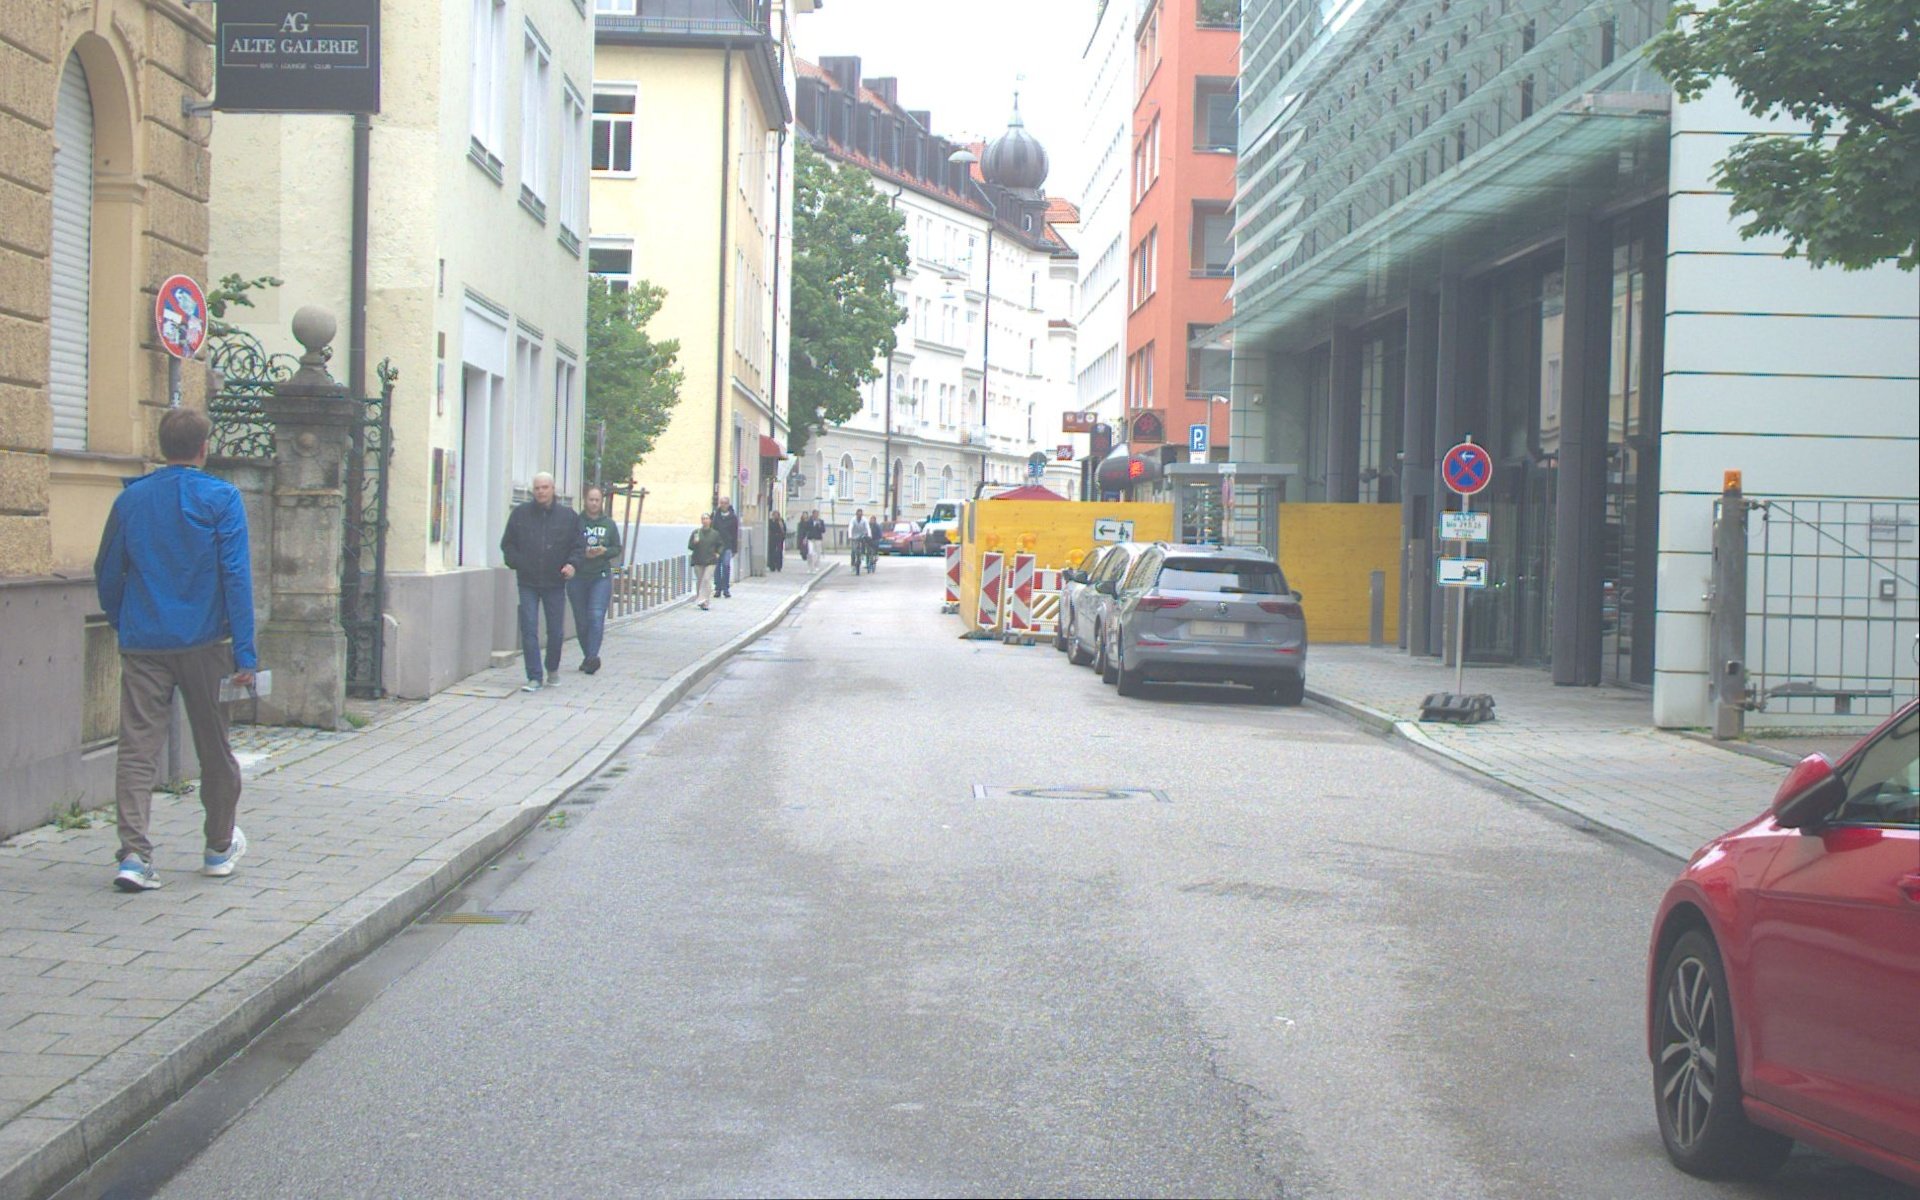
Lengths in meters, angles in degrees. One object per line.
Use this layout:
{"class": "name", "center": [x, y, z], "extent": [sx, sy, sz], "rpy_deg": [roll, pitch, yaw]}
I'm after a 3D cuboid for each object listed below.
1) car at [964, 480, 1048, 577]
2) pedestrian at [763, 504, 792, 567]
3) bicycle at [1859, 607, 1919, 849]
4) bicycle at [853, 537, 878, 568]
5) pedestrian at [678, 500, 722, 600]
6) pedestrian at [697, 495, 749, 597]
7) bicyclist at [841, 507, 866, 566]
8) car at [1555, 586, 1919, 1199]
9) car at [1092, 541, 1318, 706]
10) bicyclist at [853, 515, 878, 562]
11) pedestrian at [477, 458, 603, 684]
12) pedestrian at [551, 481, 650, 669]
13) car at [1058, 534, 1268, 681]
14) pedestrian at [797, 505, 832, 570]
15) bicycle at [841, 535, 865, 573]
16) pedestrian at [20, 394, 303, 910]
{"class": "car", "center": [1.254, -2.008, 95.926], "extent": [1.993, 2.528, 4.976], "rpy_deg": [2, 1, -2]}
{"class": "pedestrian", "center": [-4.888, -1.733, 92.136], "extent": [0.670, 1.642, 0.761], "rpy_deg": [2, 1, -2]}
{"class": "bicycle", "center": [5.436, 0.709, 18.416], "extent": [0.707, 1.194, 1.834], "rpy_deg": [1, 4, 0]}
{"class": "bicycle", "center": [-2.782, -1.399, 100.833], "extent": [0.707, 0.902, 1.810], "rpy_deg": [1, 1, -2]}
{"class": "pedestrian", "center": [-4.433, -0.864, 58.716], "extent": [0.647, 1.670, 0.724], "rpy_deg": [2, 1, -2]}
{"class": "pedestrian", "center": [-4.471, -1.029, 65.029], "extent": [0.867, 1.875, 1.135], "rpy_deg": [2, 1, -2]}
{"class": "bicyclist", "center": [-2.990, -1.793, 96.859], "extent": [0.659, 1.637, 0.895], "rpy_deg": [1, 1, -2]}
{"class": "car", "center": [2.789, 0.781, 7.353], "extent": [1.760, 1.442, 4.300], "rpy_deg": [3, 1, -7]}
{"class": "car", "center": [2.311, 0.175, 33.378], "extent": [1.708, 1.427, 4.330], "rpy_deg": [2, 1, -2]}
{"class": "bicyclist", "center": [-2.761, -1.812, 100.694], "extent": [0.707, 1.366, 0.813], "rpy_deg": [1, 1, -1]}
{"class": "pedestrian", "center": [-3.491, -0.249, 28.663], "extent": [0.905, 1.821, 0.956], "rpy_deg": [2, 1, -2]}
{"class": "pedestrian", "center": [-3.306, -0.237, 31.657], "extent": [0.712, 1.660, 0.930], "rpy_deg": [4, 1, -1]}
{"class": "car", "center": [2.220, 0.043, 38.671], "extent": [1.707, 1.462, 4.238], "rpy_deg": [3, 1, -5]}
{"class": "pedestrian", "center": [-3.892, -1.670, 91.944], "extent": [0.839, 1.694, 0.803], "rpy_deg": [2, 1, -2]}
{"class": "bicycle", "center": [-3.005, -1.309, 96.810], "extent": [0.661, 1.035, 2.005], "rpy_deg": [1, 1, -2]}
{"class": "pedestrian", "center": [-3.021, 0.181, 13.100], "extent": [0.757, 1.848, 1.077], "rpy_deg": [3, 1, -1]}
